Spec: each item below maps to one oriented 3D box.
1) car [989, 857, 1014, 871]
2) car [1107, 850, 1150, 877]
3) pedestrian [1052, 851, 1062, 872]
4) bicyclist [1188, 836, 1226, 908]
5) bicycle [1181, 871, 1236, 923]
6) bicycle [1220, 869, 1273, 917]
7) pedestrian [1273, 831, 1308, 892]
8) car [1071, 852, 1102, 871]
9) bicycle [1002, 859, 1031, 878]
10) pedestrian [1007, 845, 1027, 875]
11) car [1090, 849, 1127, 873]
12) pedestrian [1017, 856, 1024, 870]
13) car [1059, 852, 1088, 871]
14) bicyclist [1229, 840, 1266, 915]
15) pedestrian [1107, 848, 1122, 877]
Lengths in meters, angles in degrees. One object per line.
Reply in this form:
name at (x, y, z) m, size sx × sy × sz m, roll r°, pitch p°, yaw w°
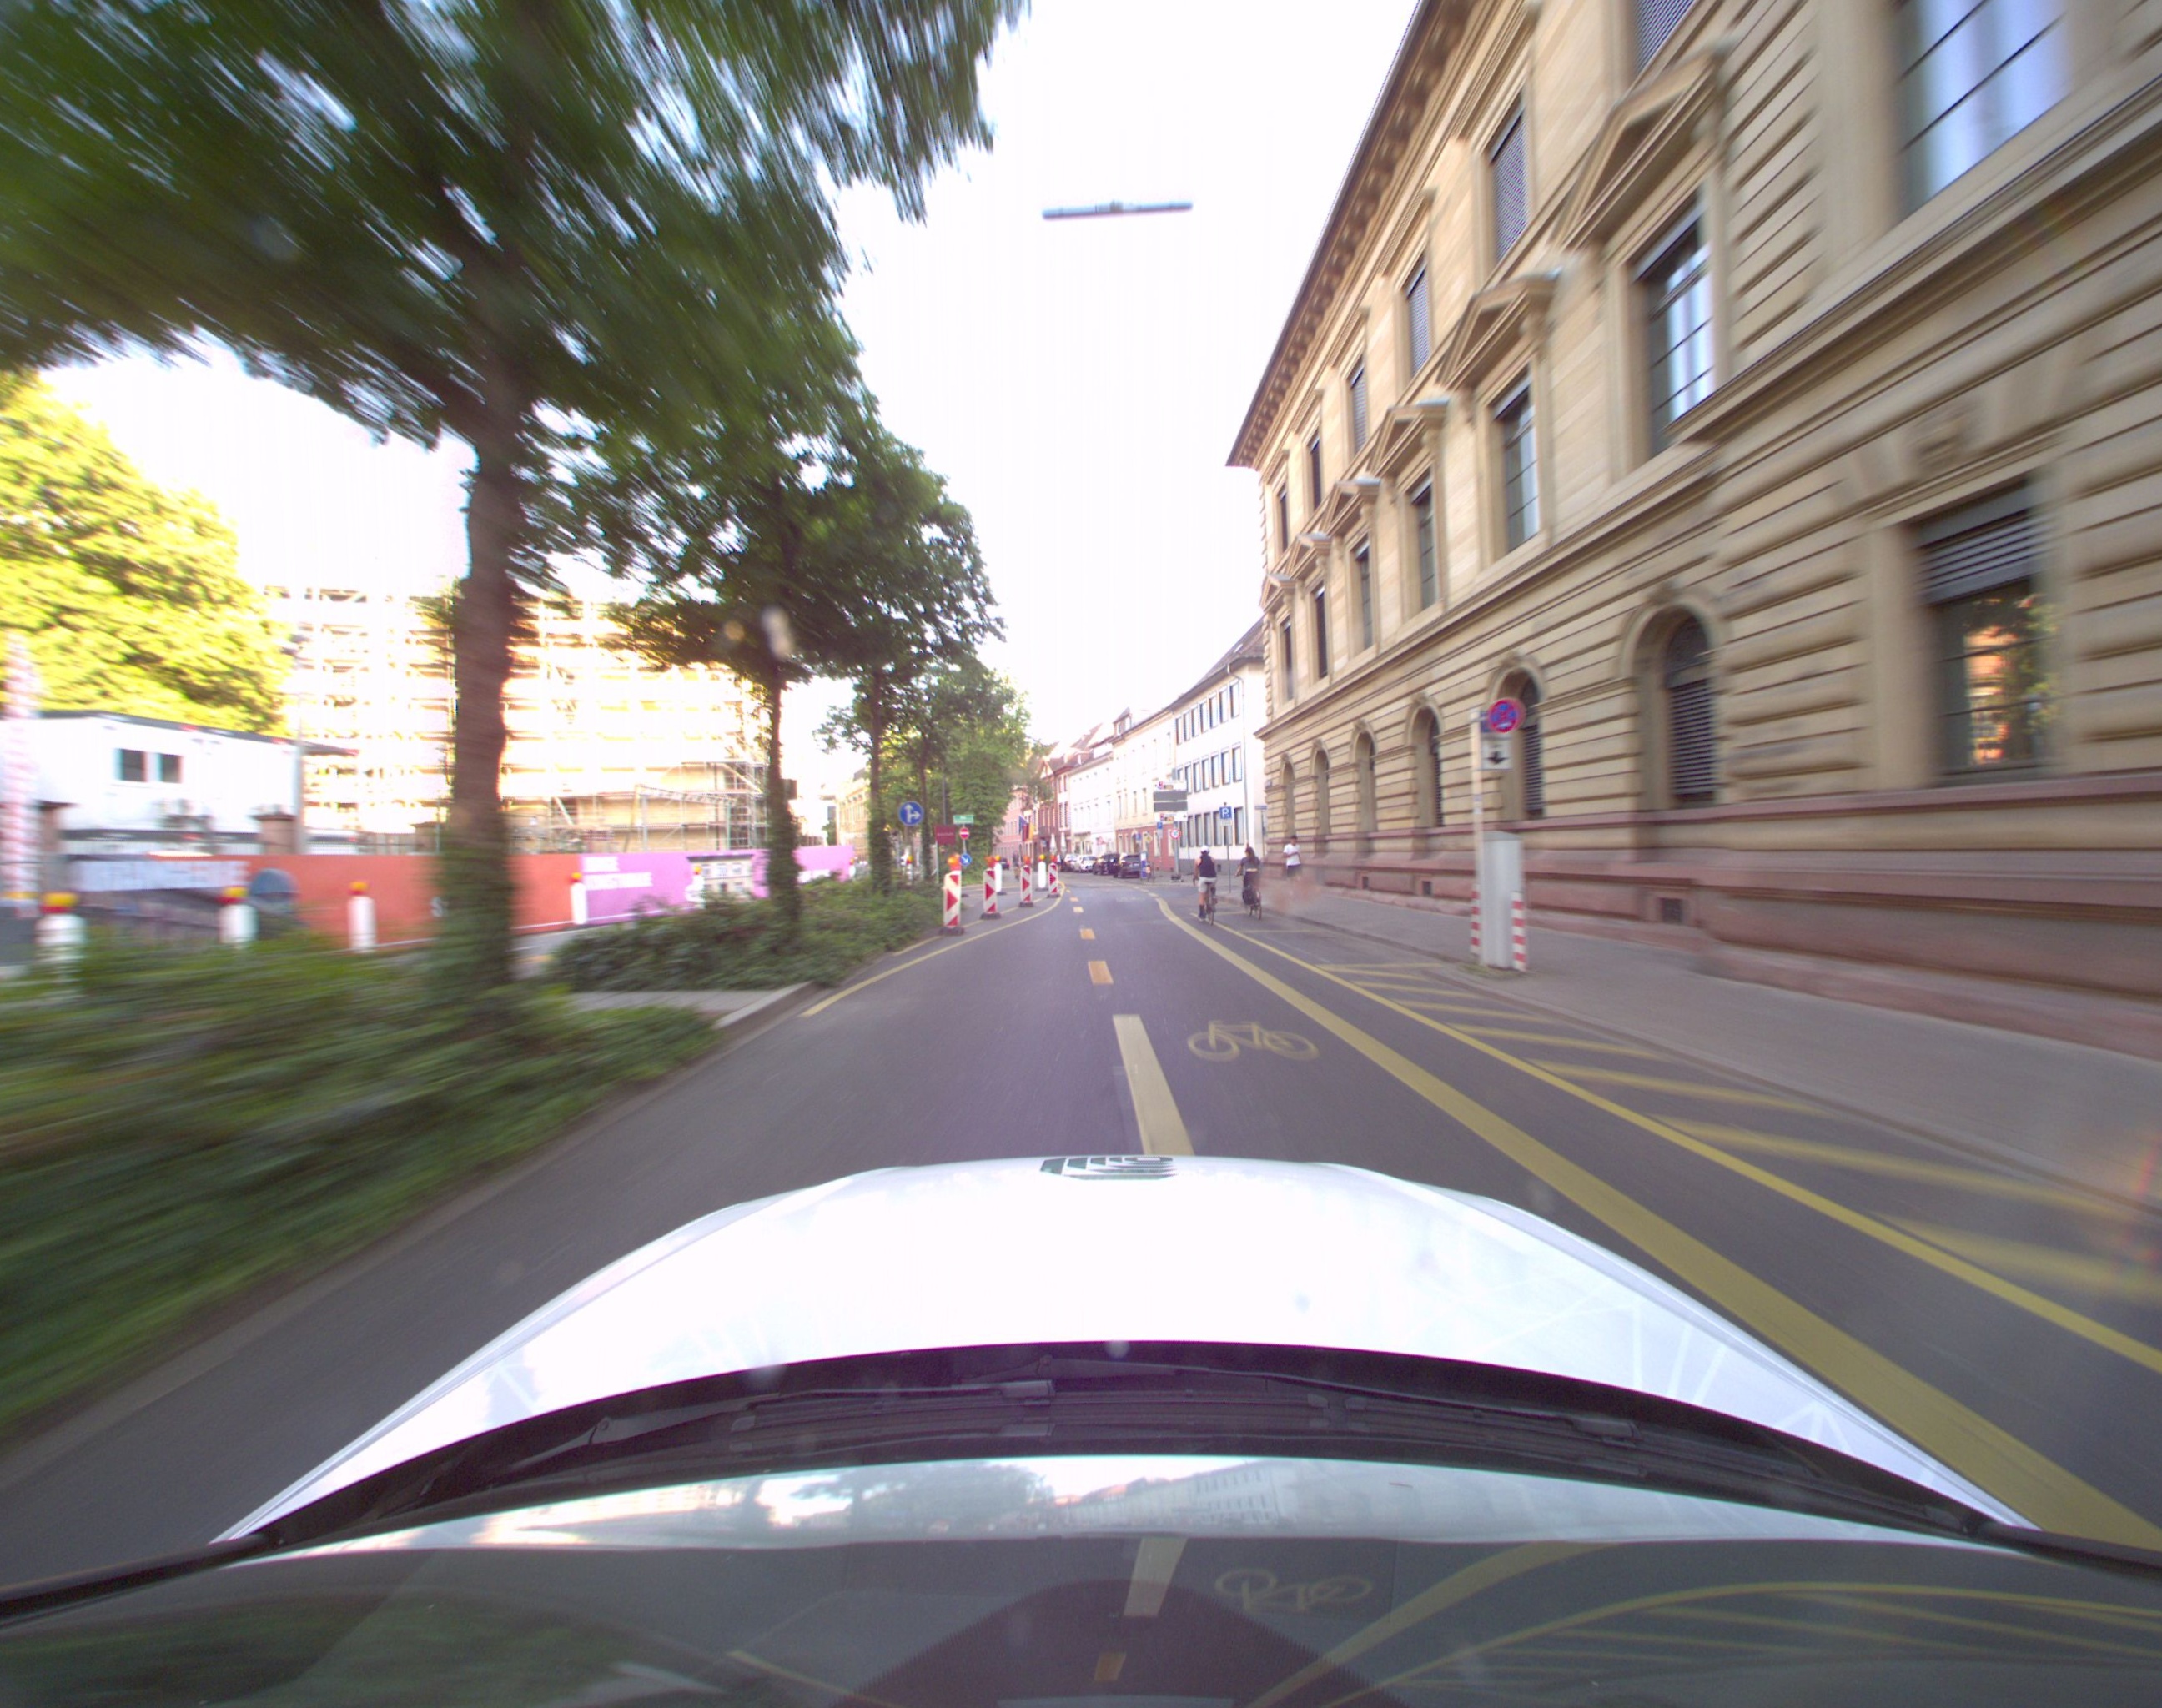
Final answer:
car at (-9.363, 1.126, 95.955) m, size 1.820 × 1.560 × 3.835 m, roll -2°, pitch 0°, yaw -23°
car at (3.045, 0.598, 52.542) m, size 1.813 × 1.682 × 3.904 m, roll -2°, pitch 0°, yaw -11°
pedestrian at (-2.168, 0.696, 73.006) m, size 0.827 × 1.844 × 0.959 m, roll -1°, pitch 0°, yaw 3°
bicyclist at (2.792, 0.398, 18.058) m, size 0.668 × 1.566 × 0.696 m, roll 0°, pitch -1°, yaw -8°
bicycle at (2.798, 0.925, 18.089) m, size 0.669 × 1.071 × 1.896 m, roll 0°, pitch 0°, yaw -8°
bicycle at (3.974, 0.910, 19.750) m, size 0.652 × 1.071 × 2.254 m, roll 0°, pitch 0°, yaw -5°
pedestrian at (6.166, 0.207, 23.995) m, size 0.813 × 1.765 × 1.039 m, roll -1°, pitch 0°, yaw 3°
car at (0.423, 0.625, 68.608) m, size 1.814 × 1.560 × 3.848 m, roll -2°, pitch 0°, yaw -13°
bicycle at (-3.625, 0.817, 46.197) m, size 0.754 × 1.037 × 2.132 m, roll -2°, pitch 0°, yaw 21°
pedestrian at (-3.627, 0.316, 46.244) m, size 0.728 × 1.674 × 0.900 m, roll -2°, pitch 0°, yaw 21°
car at (2.009, 0.530, 60.683) m, size 1.813 × 1.684 × 3.984 m, roll -2°, pitch 0°, yaw -12°
pedestrian at (-7.967, 1.219, 107.738) m, size 0.751 × 1.762 × 0.582 m, roll -2°, pitch 0°, yaw -15°
car at (-0.731, 0.647, 73.004) m, size 1.814 × 1.560 × 3.848 m, roll -2°, pitch 0°, yaw -13°
bicyclist at (3.981, 0.545, 19.512) m, size 0.648 × 1.760 × 0.863 m, roll 0°, pitch 0°, yaw -6°
pedestrian at (2.163, 0.577, 53.387) m, size 0.897 × 1.866 × 0.932 m, roll -2°, pitch 0°, yaw -1°
